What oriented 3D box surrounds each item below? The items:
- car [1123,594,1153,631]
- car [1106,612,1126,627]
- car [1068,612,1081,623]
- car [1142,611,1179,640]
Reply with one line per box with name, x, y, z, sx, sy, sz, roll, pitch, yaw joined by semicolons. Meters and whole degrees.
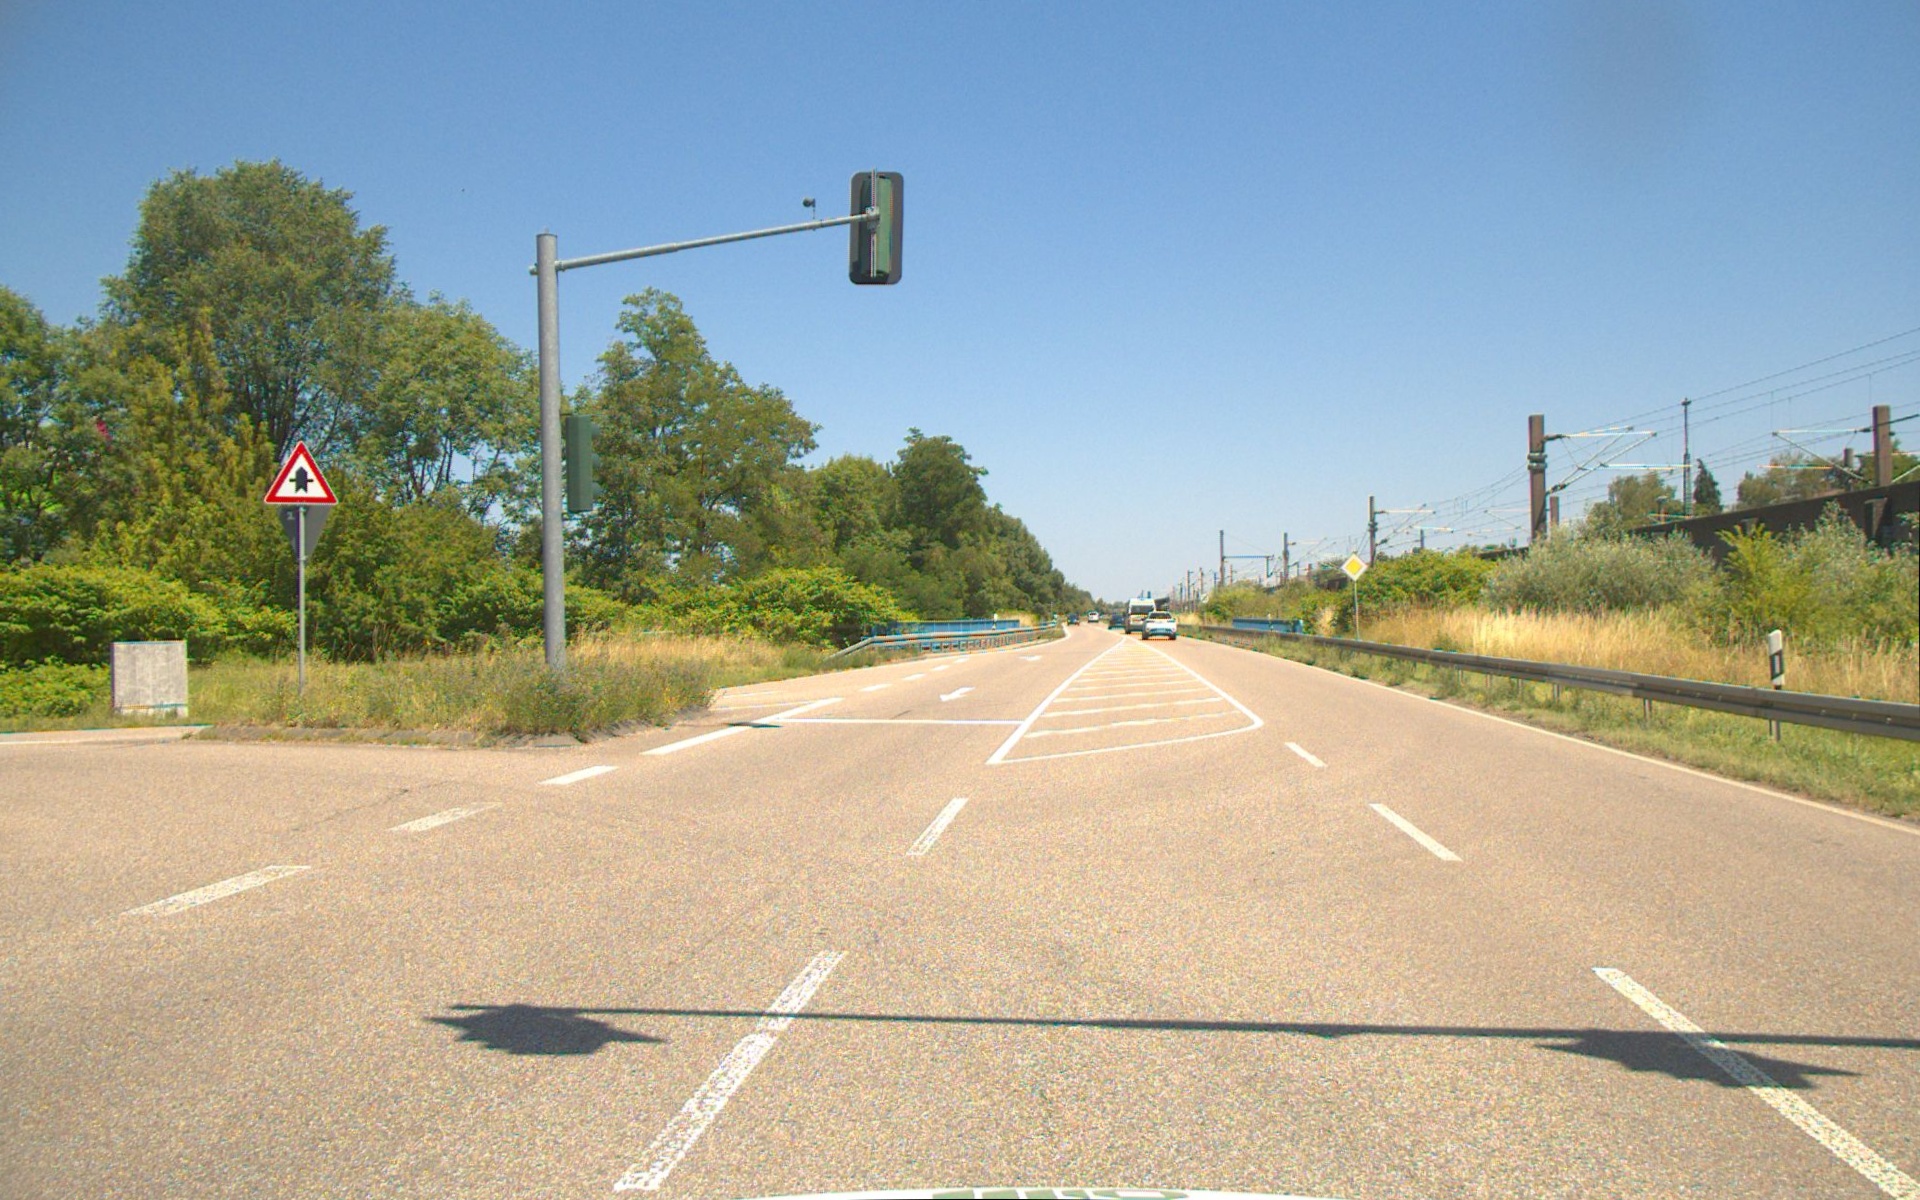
car;13.163;0.896;122.487;2.142;2.649;6.754;1;0;5
car;15.254;1.850;161.732;1.817;1.404;4.505;1;0;4
car;15.779;2.425;227.859;1.817;1.404;4.505;1;0;4
car;11.119;1.404;92.020;1.780;1.591;4.280;0;0;3
